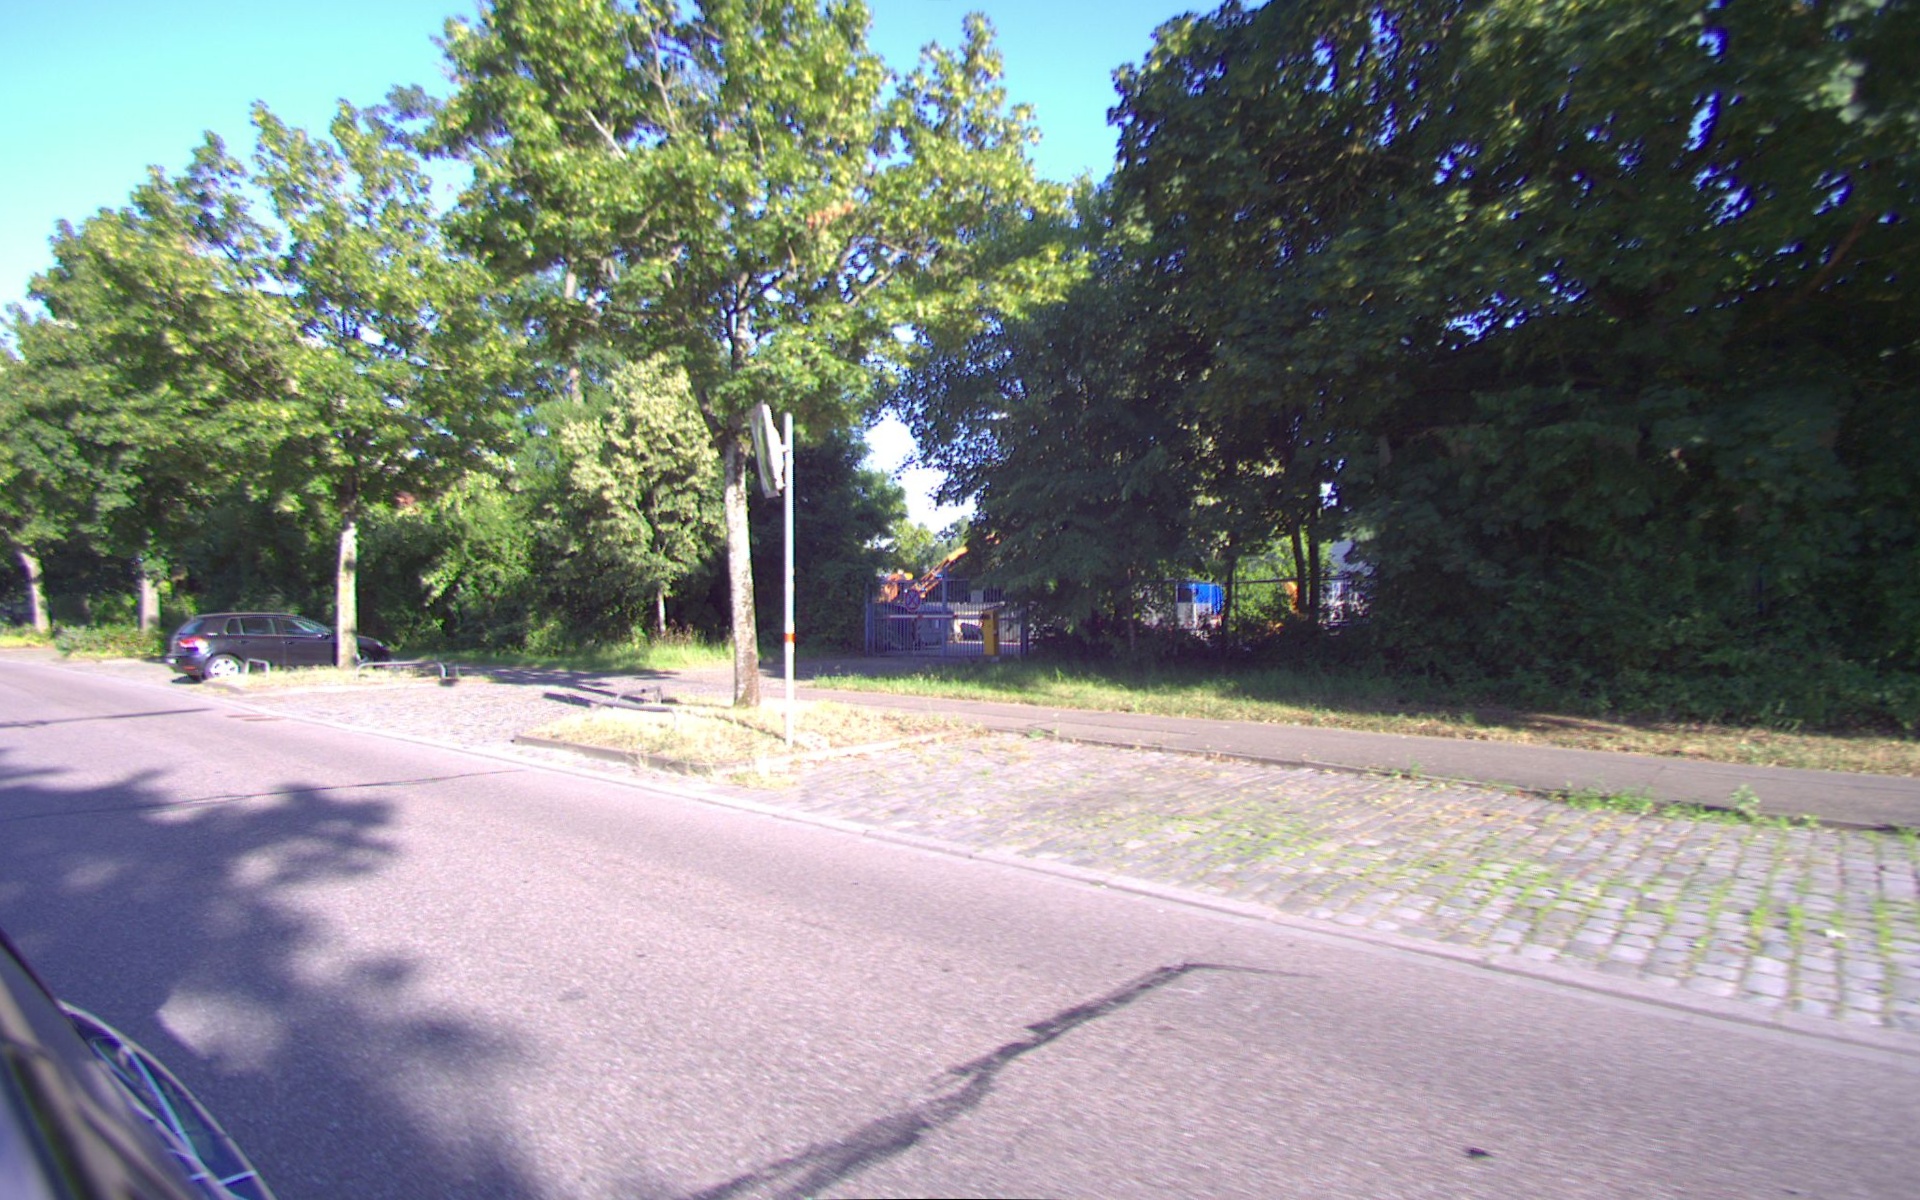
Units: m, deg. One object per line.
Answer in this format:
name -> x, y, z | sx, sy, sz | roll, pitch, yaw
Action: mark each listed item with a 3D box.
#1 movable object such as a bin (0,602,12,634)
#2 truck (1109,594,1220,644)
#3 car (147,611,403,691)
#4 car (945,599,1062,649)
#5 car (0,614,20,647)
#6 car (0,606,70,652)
movable object such as a bin -> -84.849, 1.535, 86.857 | 4.728, 2.685, 2.168 | 0, -2, -8
truck -> 8.938, 0.847, 44.445 | 4.315, 2.073, 2.032 | -2, -2, 41
car -> -15.096, 1.048, 22.516 | 1.997, 1.490, 4.317 | -1, 0, 38
car -> 1.576, 0.881, 37.267 | 3.994, 1.741, 1.890 | -2, -2, 38
car -> -47.297, 1.533, 47.632 | 1.701, 1.541, 4.177 | -1, 1, 34
car -> -43.838, 1.306, 45.803 | 2.169, 2.035, 4.963 | -1, -2, 34
